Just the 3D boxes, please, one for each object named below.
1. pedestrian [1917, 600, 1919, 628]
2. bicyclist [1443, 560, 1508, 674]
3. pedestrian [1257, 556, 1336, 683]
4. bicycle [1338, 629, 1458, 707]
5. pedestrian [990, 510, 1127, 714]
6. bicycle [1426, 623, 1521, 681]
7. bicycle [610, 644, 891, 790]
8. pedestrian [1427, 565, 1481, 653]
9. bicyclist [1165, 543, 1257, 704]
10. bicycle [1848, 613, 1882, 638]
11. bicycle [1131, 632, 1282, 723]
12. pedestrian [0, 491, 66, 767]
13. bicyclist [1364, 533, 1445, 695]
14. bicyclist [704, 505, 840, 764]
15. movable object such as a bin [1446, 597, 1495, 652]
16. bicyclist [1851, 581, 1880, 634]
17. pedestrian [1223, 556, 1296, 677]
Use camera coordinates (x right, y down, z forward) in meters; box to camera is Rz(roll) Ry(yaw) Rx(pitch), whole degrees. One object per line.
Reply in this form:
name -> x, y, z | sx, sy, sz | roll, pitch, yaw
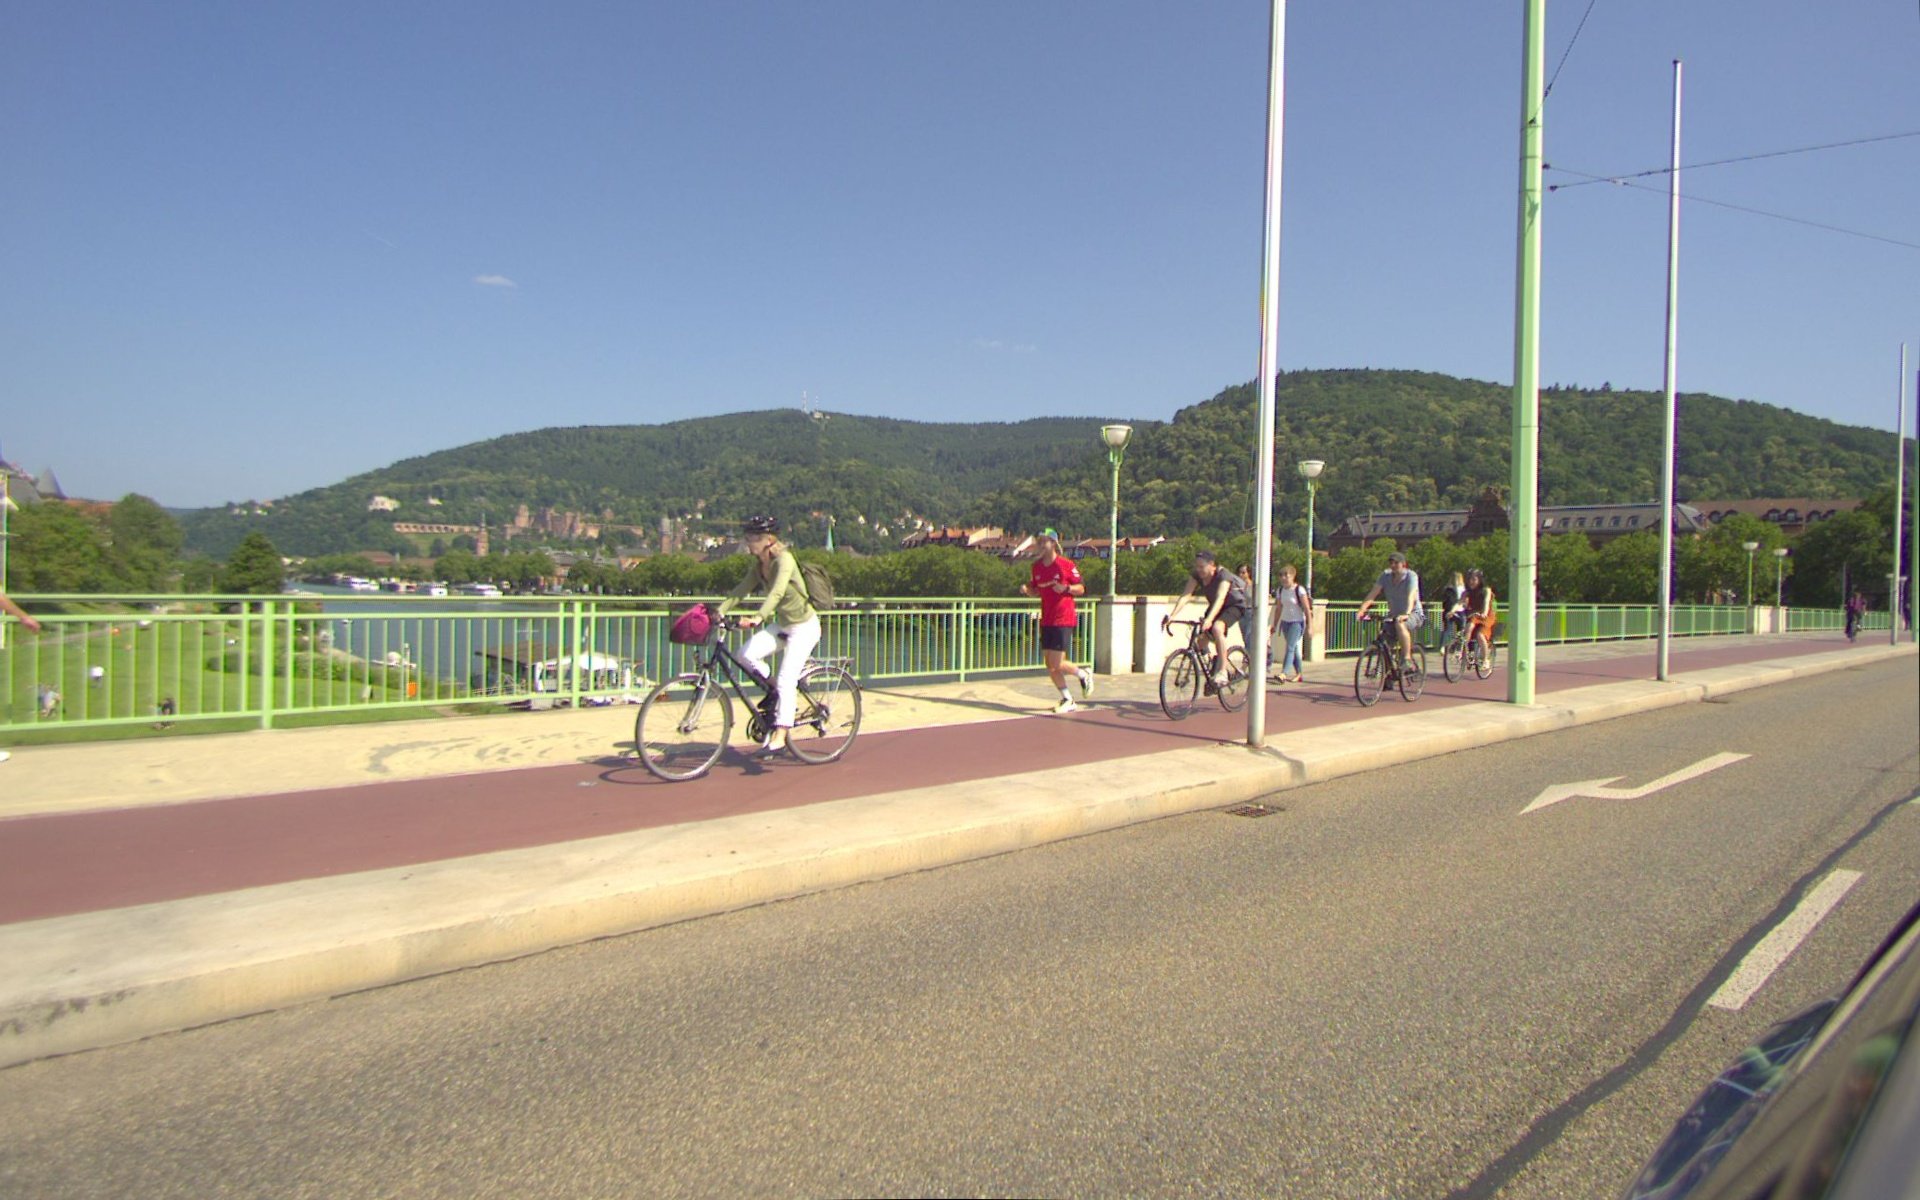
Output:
pedestrian -> 59.047, 0.894, 61.611 | 1.063, 1.683, 0.949 | 0, 3, -41
bicyclist -> 7.760, 0.241, 15.238 | 0.689, 1.671, 0.606 | 0, 2, -39
pedestrian -> 4.638, 0.242, 13.949 | 0.810, 1.679, 0.664 | 0, 2, -41
bicycle -> 5.181, 0.773, 11.920 | 1.835, 0.775, 0.594 | 0, 2, -43
pedestrian -> 1.010, 0.098, 10.356 | 1.108, 1.948, 0.812 | 0, 2, -41
bicycle -> 7.767, 0.762, 15.273 | 1.833, 0.775, 0.595 | 0, 2, -40
bicycle -> -1.376, 0.738, 6.918 | 1.835, 0.775, 0.594 | 0, 2, -43
pedestrian -> 9.994, 0.176, 20.471 | 0.844, 1.727, 0.664 | 0, 2, -41
bicyclist -> 2.572, 0.214, 10.369 | 0.690, 1.578, 0.587 | 0, 2, -42
bicycle -> 30.957, 0.852, 34.621 | 1.833, 0.775, 0.595 | 0, 2, -40
bicycle -> 2.553, 0.759, 10.376 | 1.800, 0.775, 0.594 | 0, 2, -43
pedestrian -> -6.335, 0.153, 6.345 | 1.063, 1.683, 0.949 | 0, 2, -41
bicyclist -> 5.244, 0.144, 11.944 | 0.690, 1.842, 0.587 | 0, 2, -42
bicyclist -> -1.298, 0.212, 6.971 | 0.690, 1.671, 0.587 | 0, 2, -42
movable object such as a bin -> 10.616, 0.492, 21.032 | 0.917, 1.104, 0.583 | 0, 2, -41
bicyclist -> 30.961, 0.244, 34.610 | 0.660, 1.791, 0.587 | 1, 1, -40
pedestrian -> 4.310, 0.213, 14.572 | 0.733, 1.679, 0.668 | 0, 2, -40
